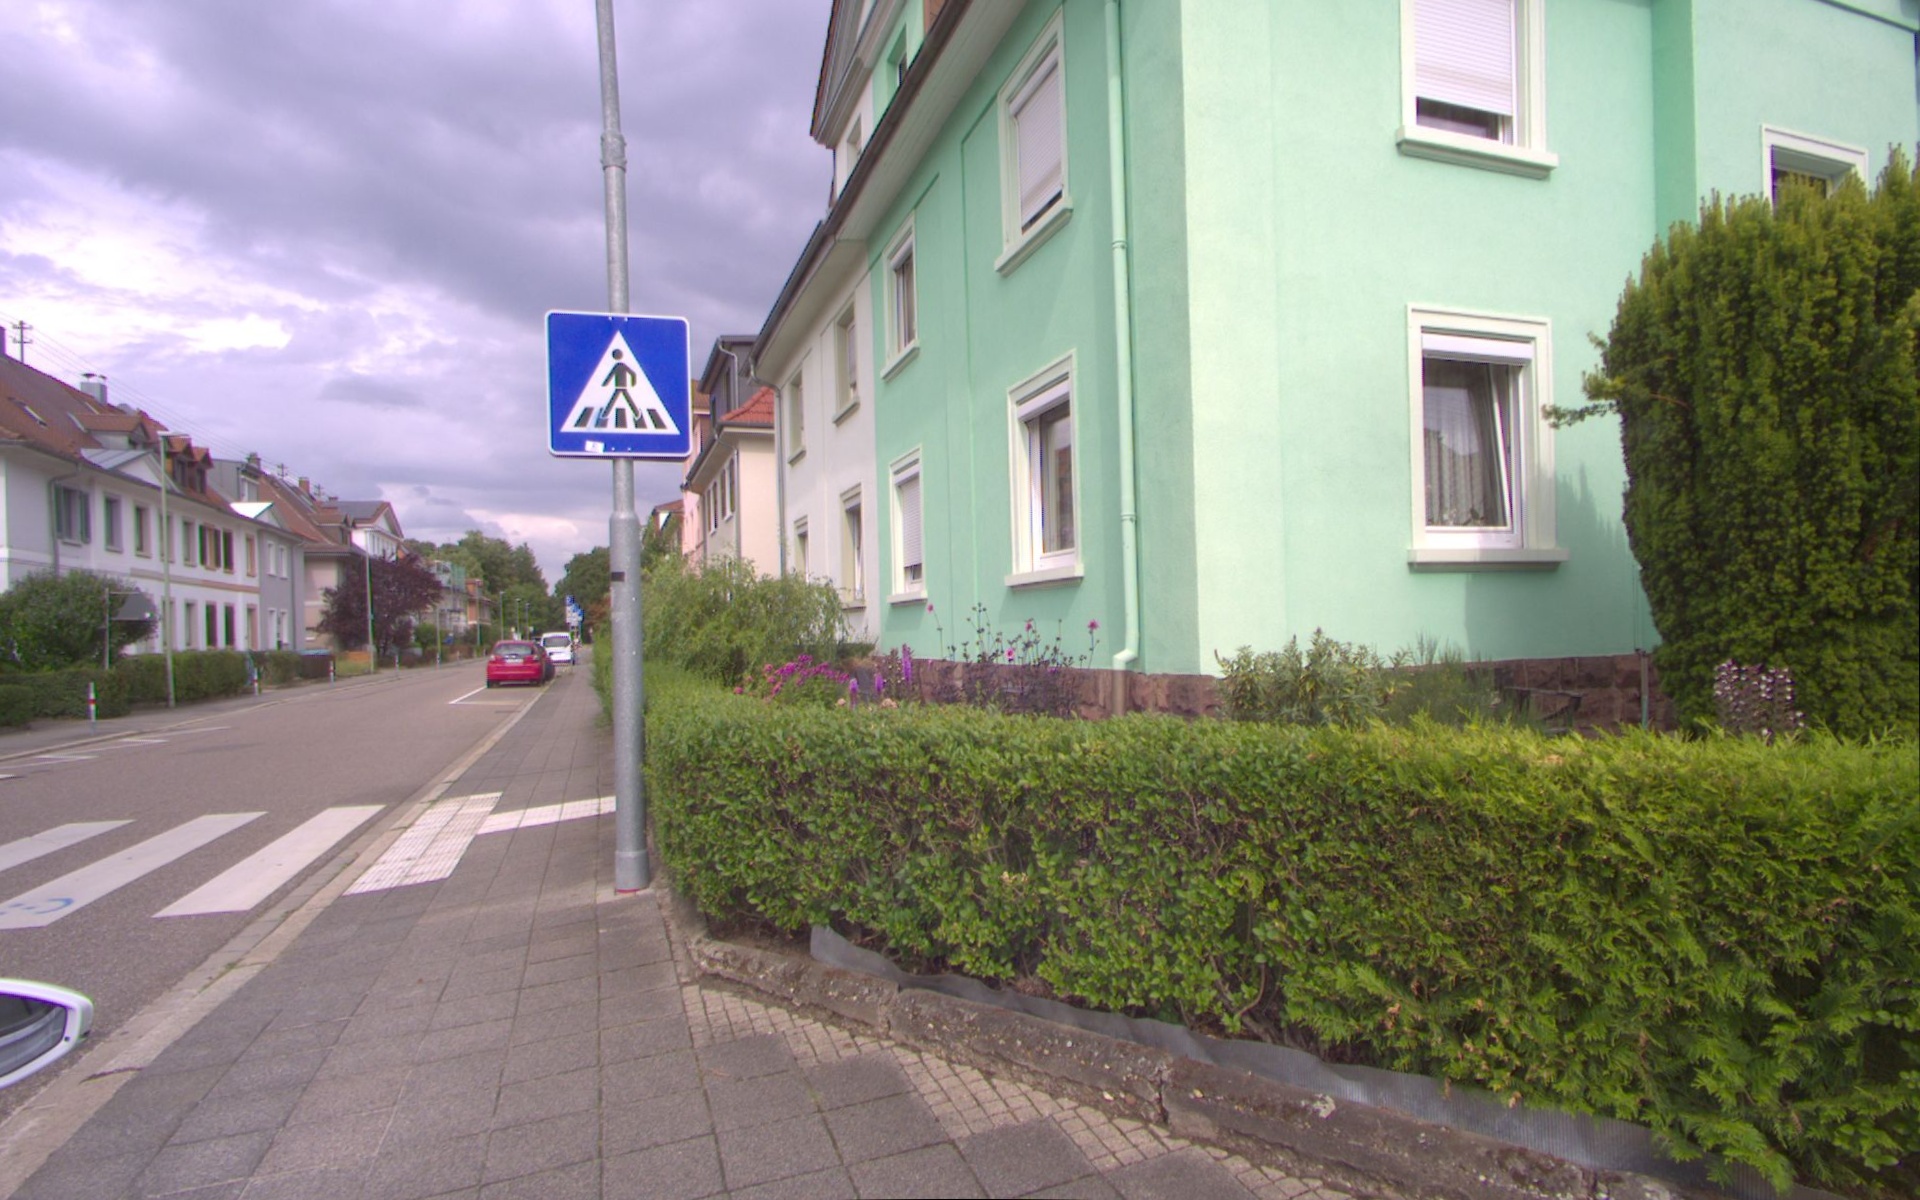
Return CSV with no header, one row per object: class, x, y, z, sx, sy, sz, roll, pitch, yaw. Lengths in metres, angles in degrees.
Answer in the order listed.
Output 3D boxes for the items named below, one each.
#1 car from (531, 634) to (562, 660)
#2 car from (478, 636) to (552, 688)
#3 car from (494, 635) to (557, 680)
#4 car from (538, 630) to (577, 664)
car,-31.695,3.608,76.800,1.966,1.854,3.995,0,-4,-20
car,-14.975,2.034,33.883,1.966,1.594,3.991,-1,-1,-20
car,-16.742,2.169,38.719,1.966,1.594,3.991,-1,-1,-20
car,-24.220,2.793,60.380,1.966,1.928,3.991,-1,-1,-20
